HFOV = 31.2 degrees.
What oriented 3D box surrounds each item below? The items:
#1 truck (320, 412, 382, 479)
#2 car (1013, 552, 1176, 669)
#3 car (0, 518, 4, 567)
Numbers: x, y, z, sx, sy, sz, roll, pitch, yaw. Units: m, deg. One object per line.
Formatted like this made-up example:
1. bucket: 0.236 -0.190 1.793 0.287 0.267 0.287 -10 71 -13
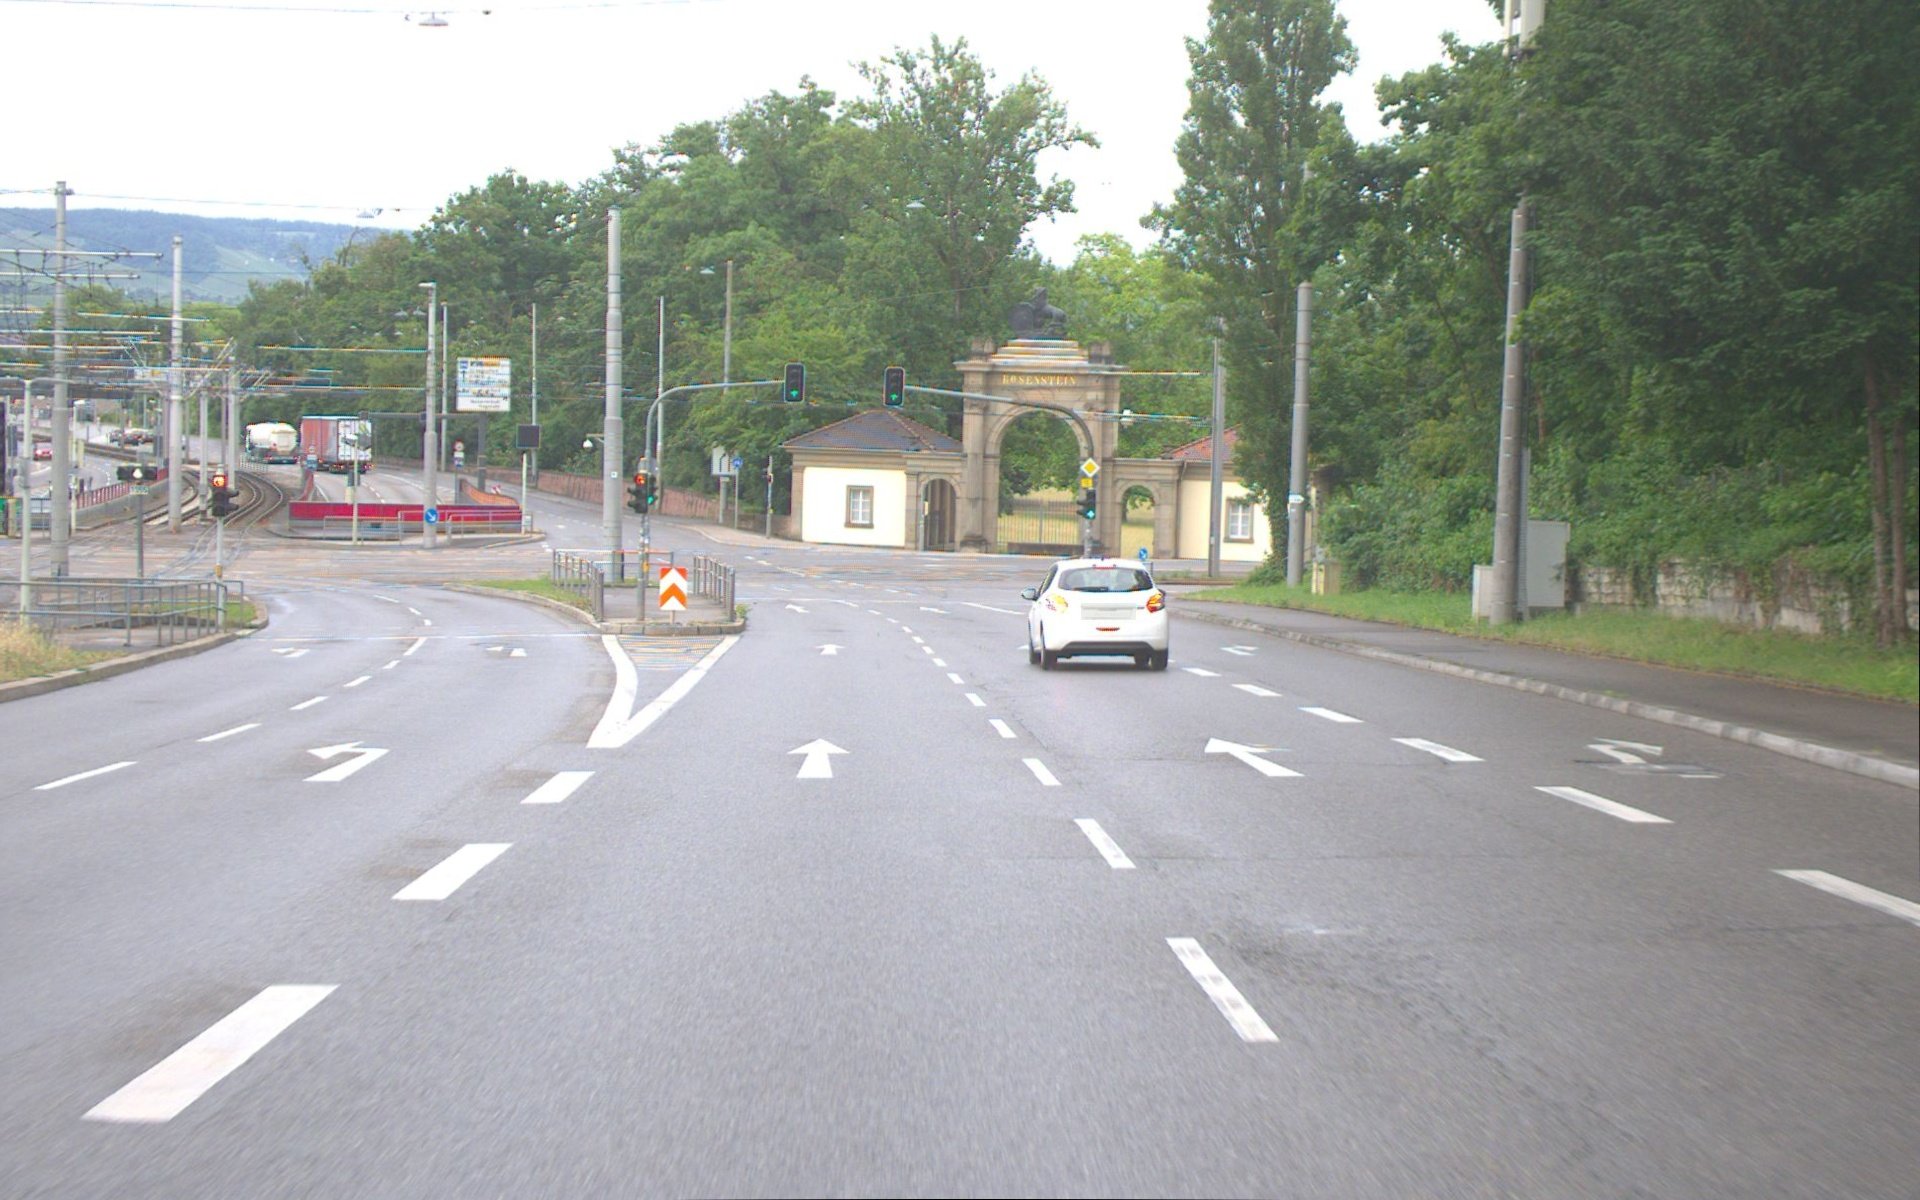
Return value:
1. truck: -44.396 -11.192 250.318 3.413 4.555 11.291 4 1 -14
2. car: 1.781 0.122 46.601 1.868 1.506 3.900 -1 0 -3
3. car: -33.237 -2.005 112.078 3.995 1.600 1.825 5 3 35
